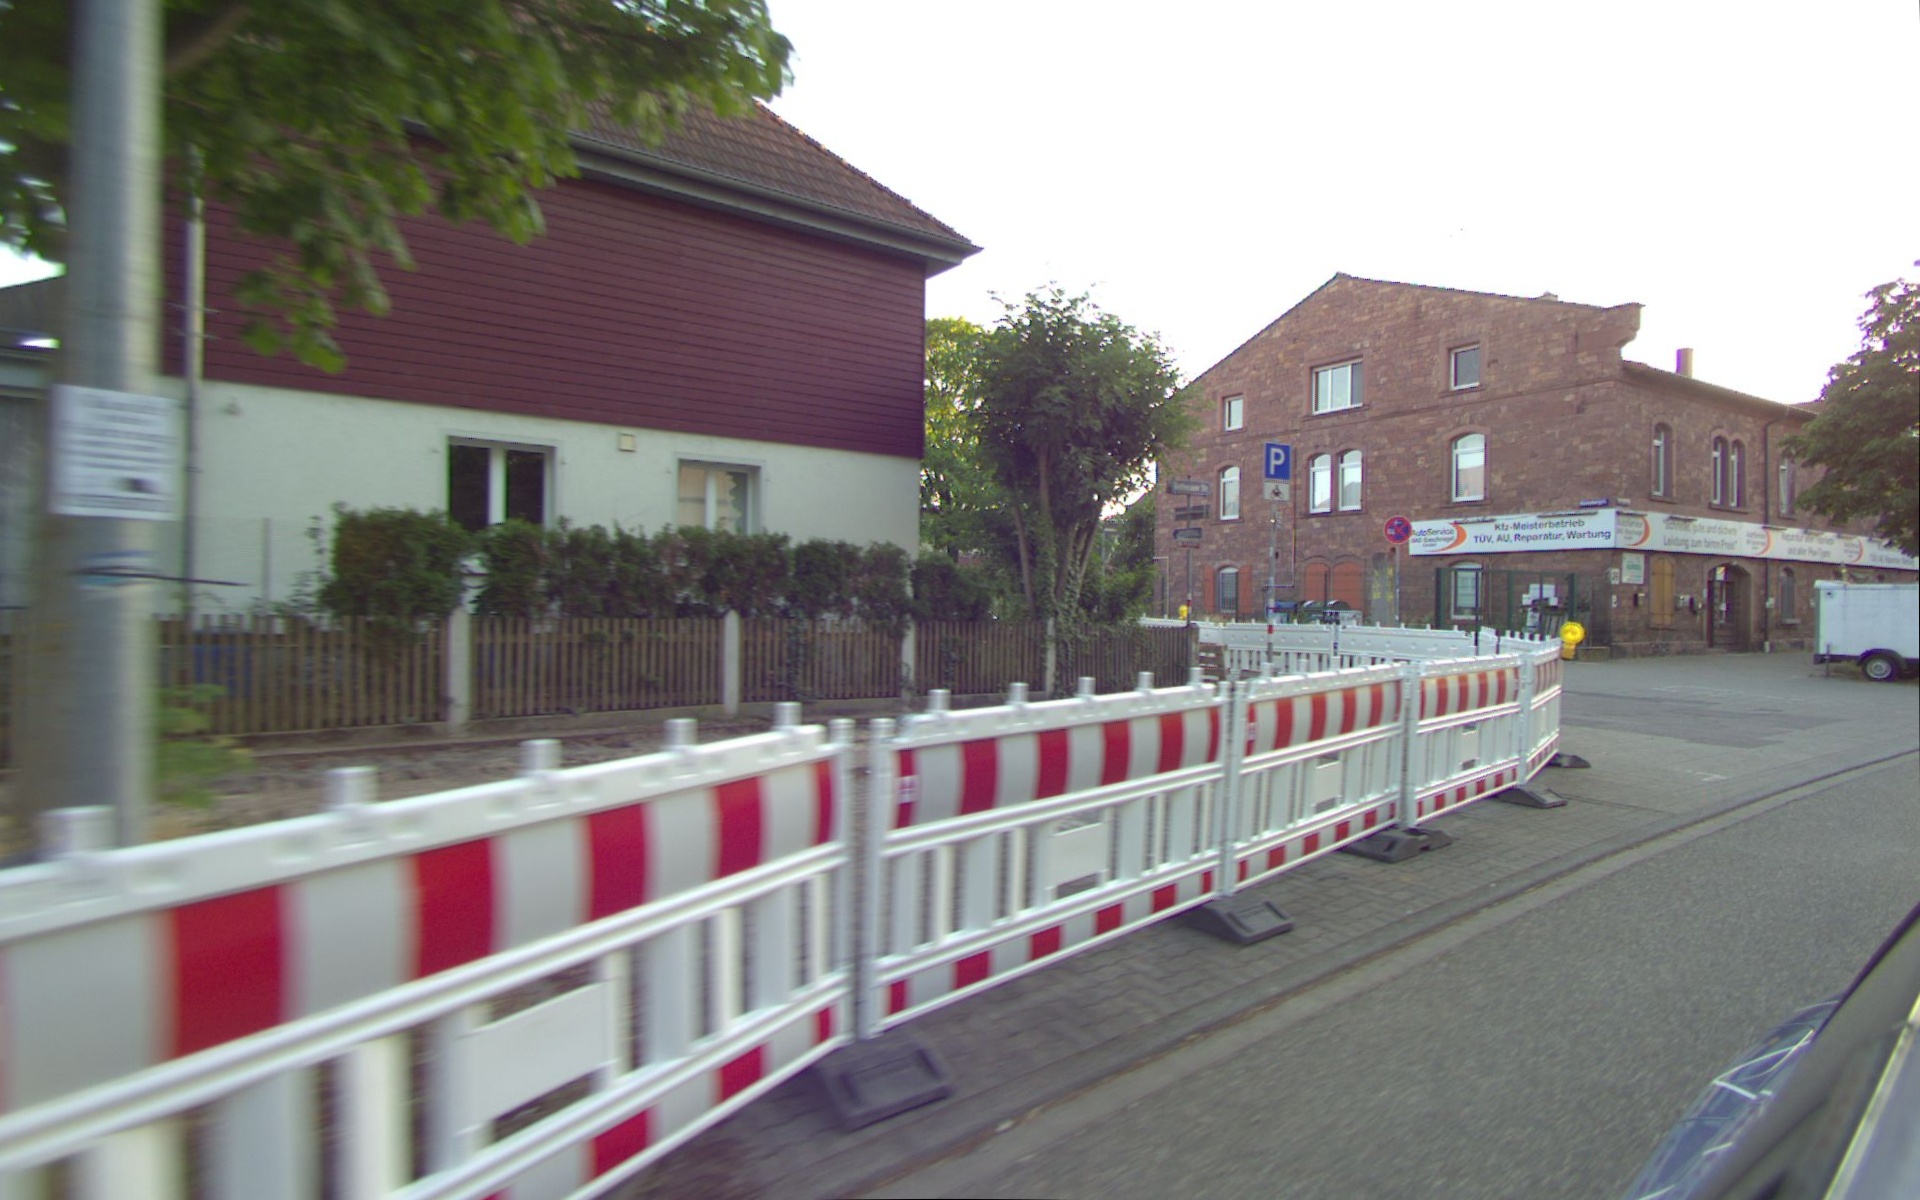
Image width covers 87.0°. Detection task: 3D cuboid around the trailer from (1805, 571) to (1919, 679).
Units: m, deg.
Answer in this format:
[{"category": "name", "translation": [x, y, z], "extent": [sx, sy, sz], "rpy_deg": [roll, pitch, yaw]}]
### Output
[{"category": "trailer", "translation": [20.555, 0.526, 21.199], "extent": [1.961, 2.215, 4.001], "rpy_deg": [1, -1, -33]}]

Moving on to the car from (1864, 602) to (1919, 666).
[{"category": "car", "translation": [24.168, 0.811, 23.504], "extent": [1.739, 1.518, 4.442], "rpy_deg": [1, 0, -34]}]

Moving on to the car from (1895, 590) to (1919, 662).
[{"category": "car", "translation": [25.971, 0.655, 24.690], "extent": [1.867, 1.822, 4.316], "rpy_deg": [1, 0, -34]}]

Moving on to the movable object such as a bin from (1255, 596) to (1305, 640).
[{"category": "movable object such as a bin", "translation": [11.088, 0.615, 35.098], "extent": [1.038, 1.462, 1.291], "rpy_deg": [1, -1, -31]}]

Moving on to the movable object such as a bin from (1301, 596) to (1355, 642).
[{"category": "movable object such as a bin", "translation": [12.130, 0.616, 33.368], "extent": [1.075, 1.462, 1.265], "rpy_deg": [1, -1, -31]}]
